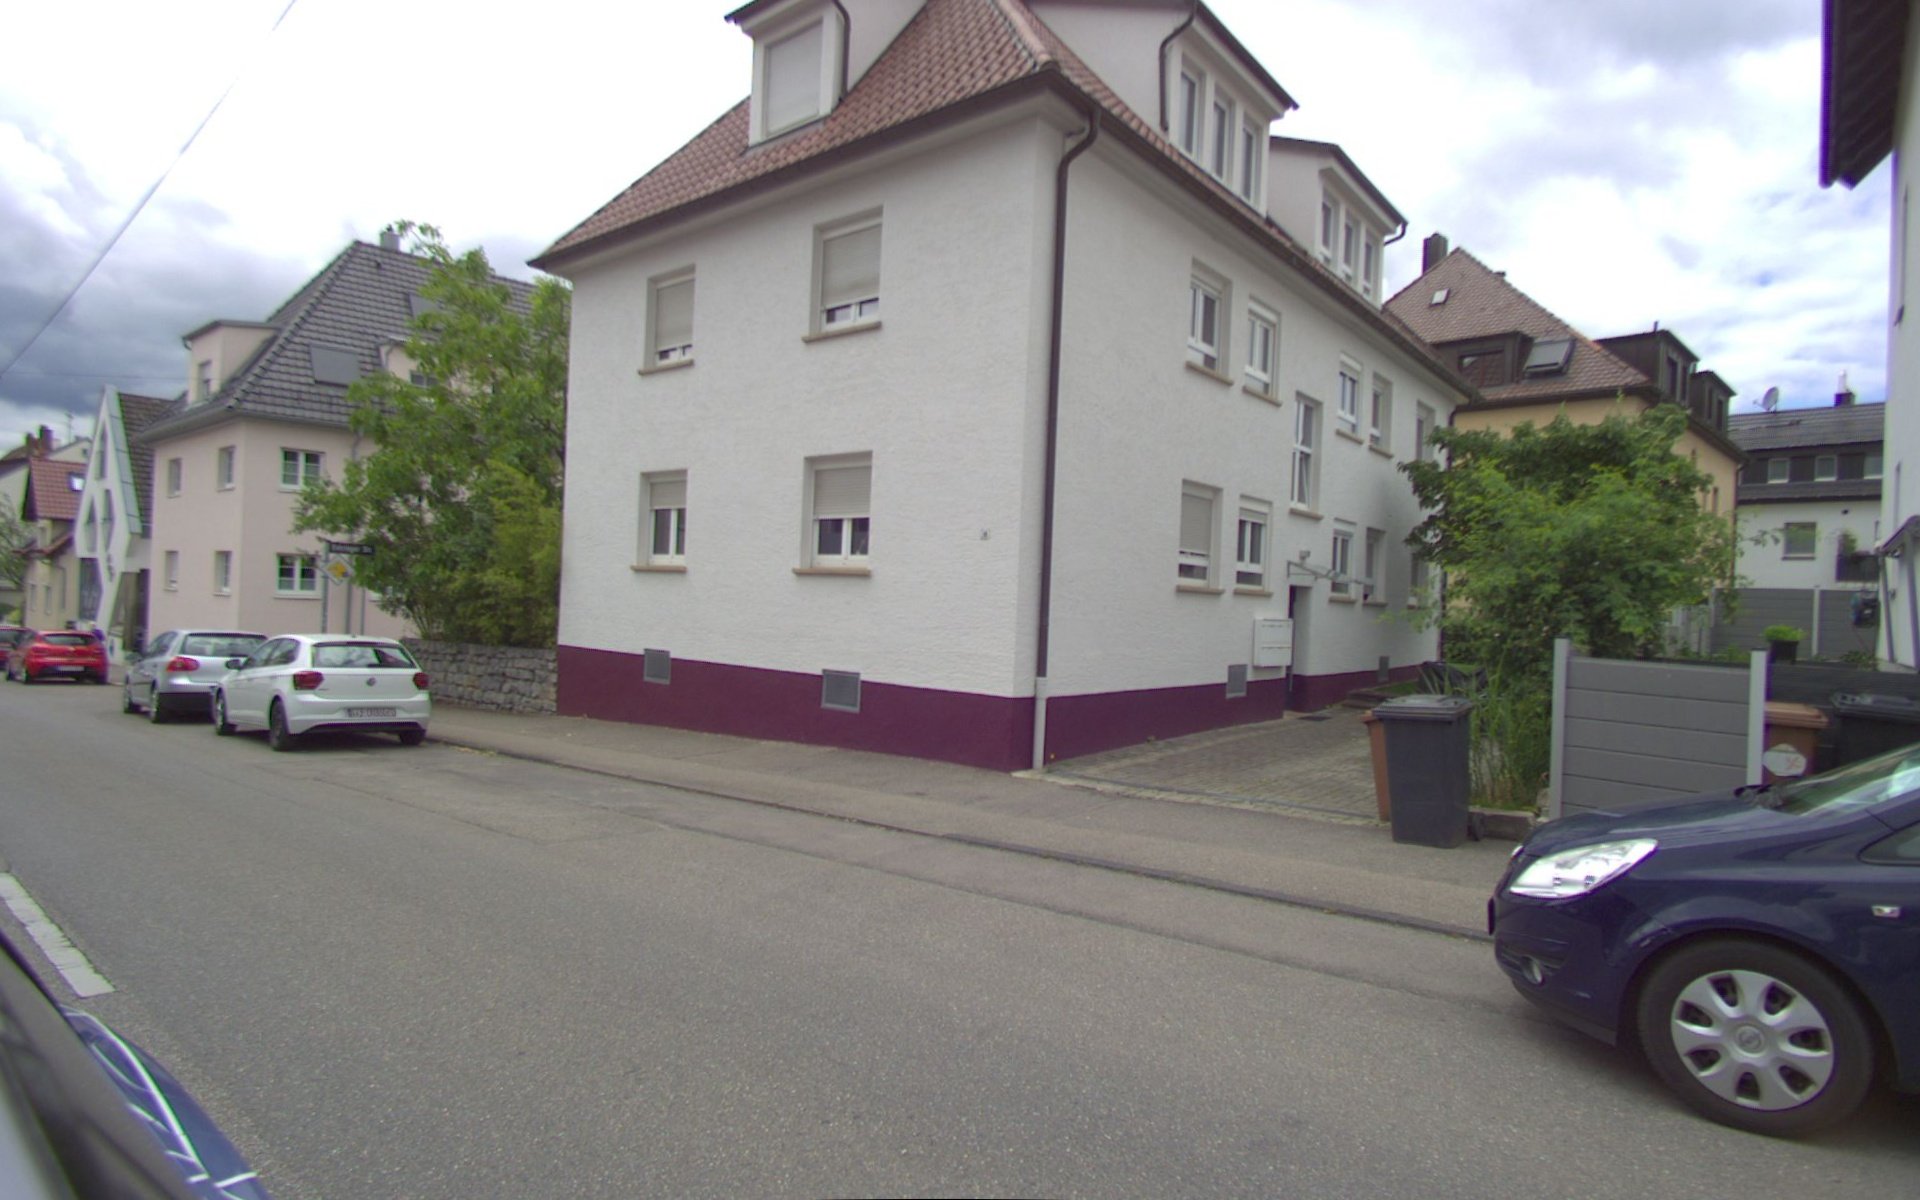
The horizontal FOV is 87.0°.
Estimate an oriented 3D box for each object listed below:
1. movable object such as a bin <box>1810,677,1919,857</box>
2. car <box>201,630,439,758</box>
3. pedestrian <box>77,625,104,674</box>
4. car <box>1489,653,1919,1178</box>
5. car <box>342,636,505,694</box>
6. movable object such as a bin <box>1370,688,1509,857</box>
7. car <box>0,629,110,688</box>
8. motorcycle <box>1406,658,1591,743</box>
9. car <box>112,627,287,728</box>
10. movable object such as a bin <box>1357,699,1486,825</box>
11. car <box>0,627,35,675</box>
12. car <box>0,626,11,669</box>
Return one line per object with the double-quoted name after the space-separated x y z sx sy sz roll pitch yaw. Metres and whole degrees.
6.422 1.133 7.045 0.763 1.121 0.718 -1 0 41 "movable object such as a bin"
-8.737 1.172 13.704 3.809 1.458 1.632 -1 -3 41 "car"
-28.170 1.593 32.779 0.600 1.544 0.576 -1 0 40 "pedestrian"
3.989 0.952 3.057 3.995 1.456 1.820 -1 -4 38 "car"
-14.861 1.745 28.135 1.708 1.421 3.681 -1 -2 45 "car"
3.467 1.205 7.320 0.758 1.053 0.670 -1 0 40 "movable object such as a bin"
-24.431 1.565 27.249 3.733 1.421 1.684 -1 -5 40 "car"
7.500 1.380 14.237 2.218 1.056 0.767 -1 0 24 "motorcycle"
-12.687 1.220 16.804 3.774 1.458 1.631 -1 -3 43 "car"
3.762 1.291 8.254 0.758 0.898 0.670 -4 -3 40 "movable object such as a bin"
-33.087 1.689 34.541 3.733 1.544 1.684 -1 -5 40 "car"
-36.943 1.717 37.784 3.733 1.544 1.684 -1 -5 40 "car"
